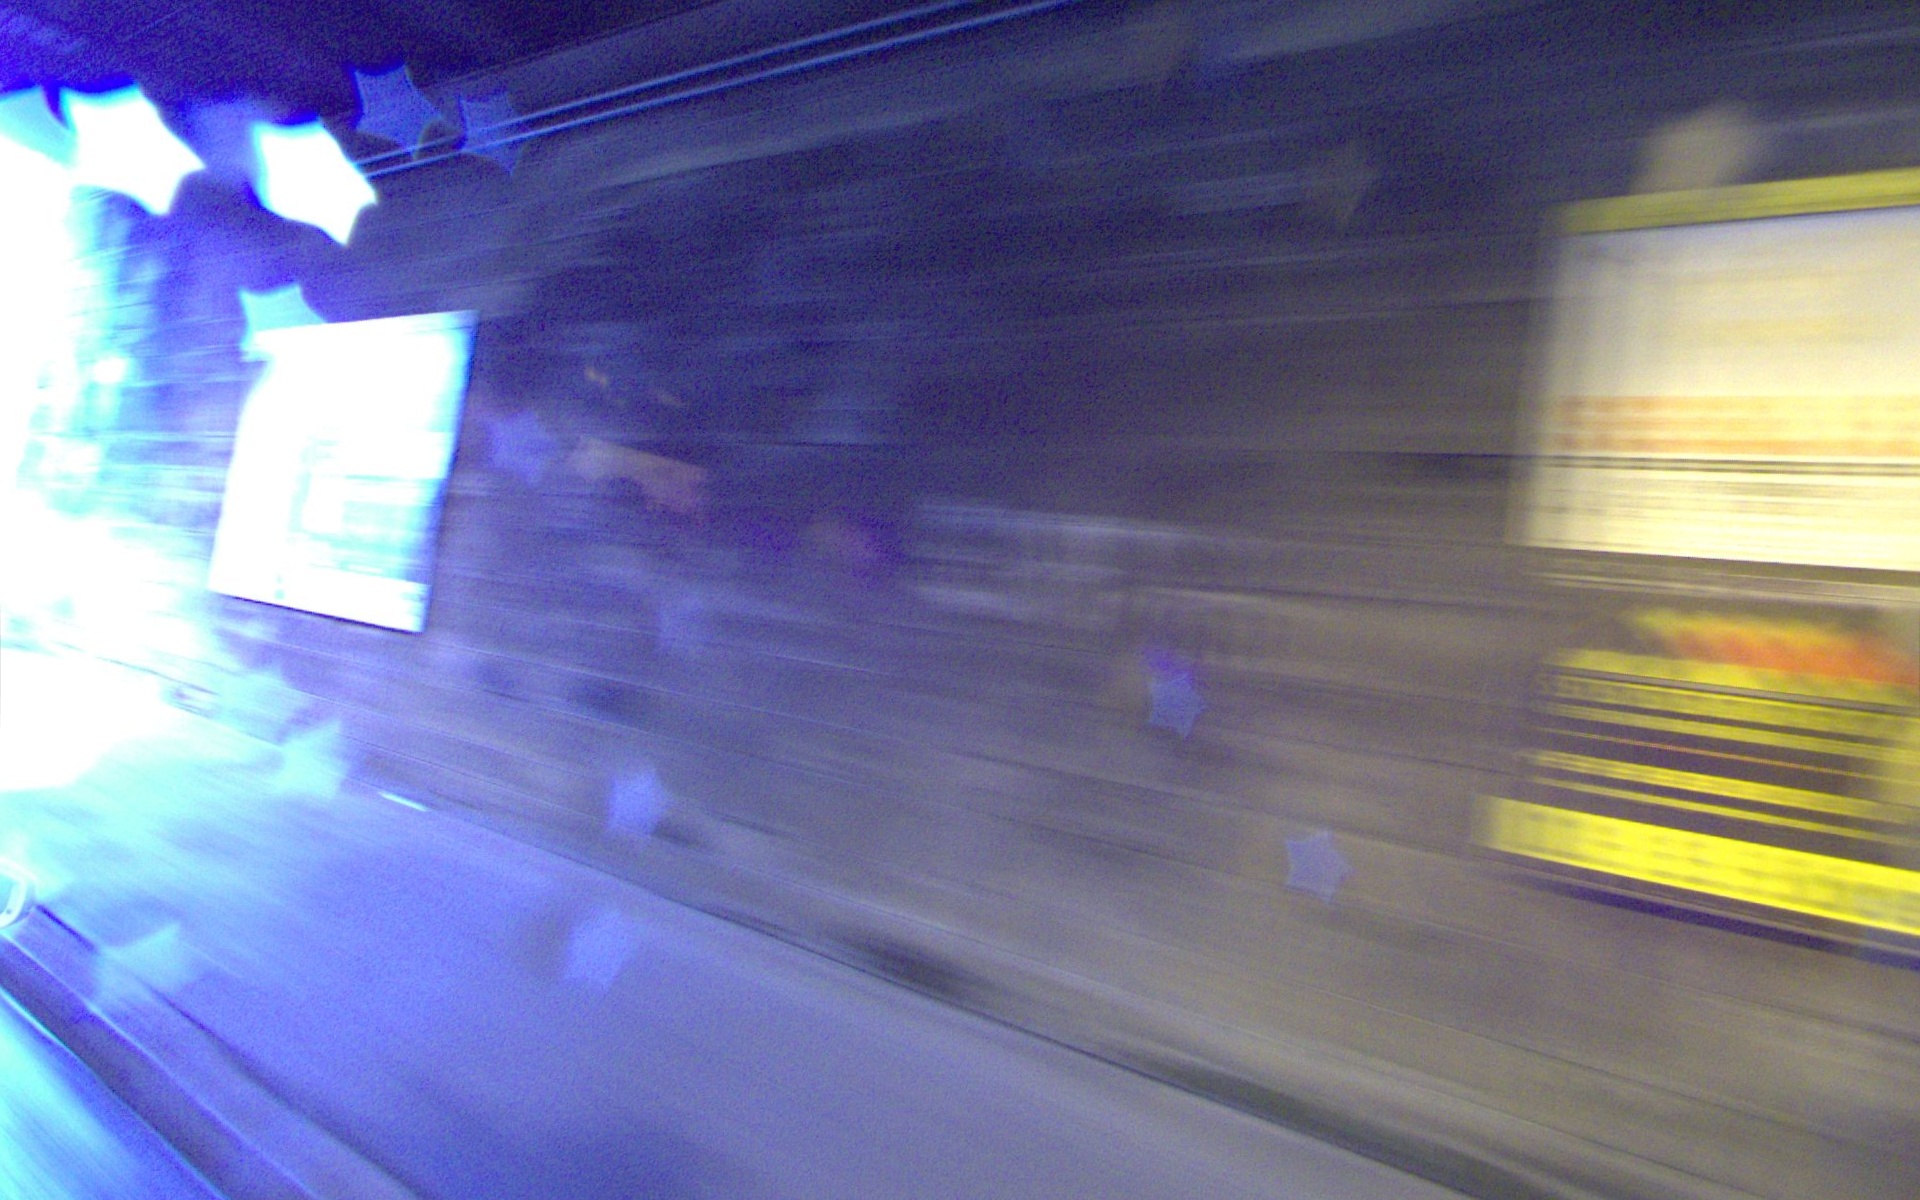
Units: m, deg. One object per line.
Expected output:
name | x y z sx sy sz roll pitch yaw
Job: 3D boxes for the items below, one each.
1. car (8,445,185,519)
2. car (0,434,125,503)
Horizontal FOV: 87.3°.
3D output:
car | -26.039 -3.499 30.561 1.809 1.455 4.102 7 -1 -3
car | -37.993 -5.486 42.279 1.972 2.037 4.077 7 -2 41
